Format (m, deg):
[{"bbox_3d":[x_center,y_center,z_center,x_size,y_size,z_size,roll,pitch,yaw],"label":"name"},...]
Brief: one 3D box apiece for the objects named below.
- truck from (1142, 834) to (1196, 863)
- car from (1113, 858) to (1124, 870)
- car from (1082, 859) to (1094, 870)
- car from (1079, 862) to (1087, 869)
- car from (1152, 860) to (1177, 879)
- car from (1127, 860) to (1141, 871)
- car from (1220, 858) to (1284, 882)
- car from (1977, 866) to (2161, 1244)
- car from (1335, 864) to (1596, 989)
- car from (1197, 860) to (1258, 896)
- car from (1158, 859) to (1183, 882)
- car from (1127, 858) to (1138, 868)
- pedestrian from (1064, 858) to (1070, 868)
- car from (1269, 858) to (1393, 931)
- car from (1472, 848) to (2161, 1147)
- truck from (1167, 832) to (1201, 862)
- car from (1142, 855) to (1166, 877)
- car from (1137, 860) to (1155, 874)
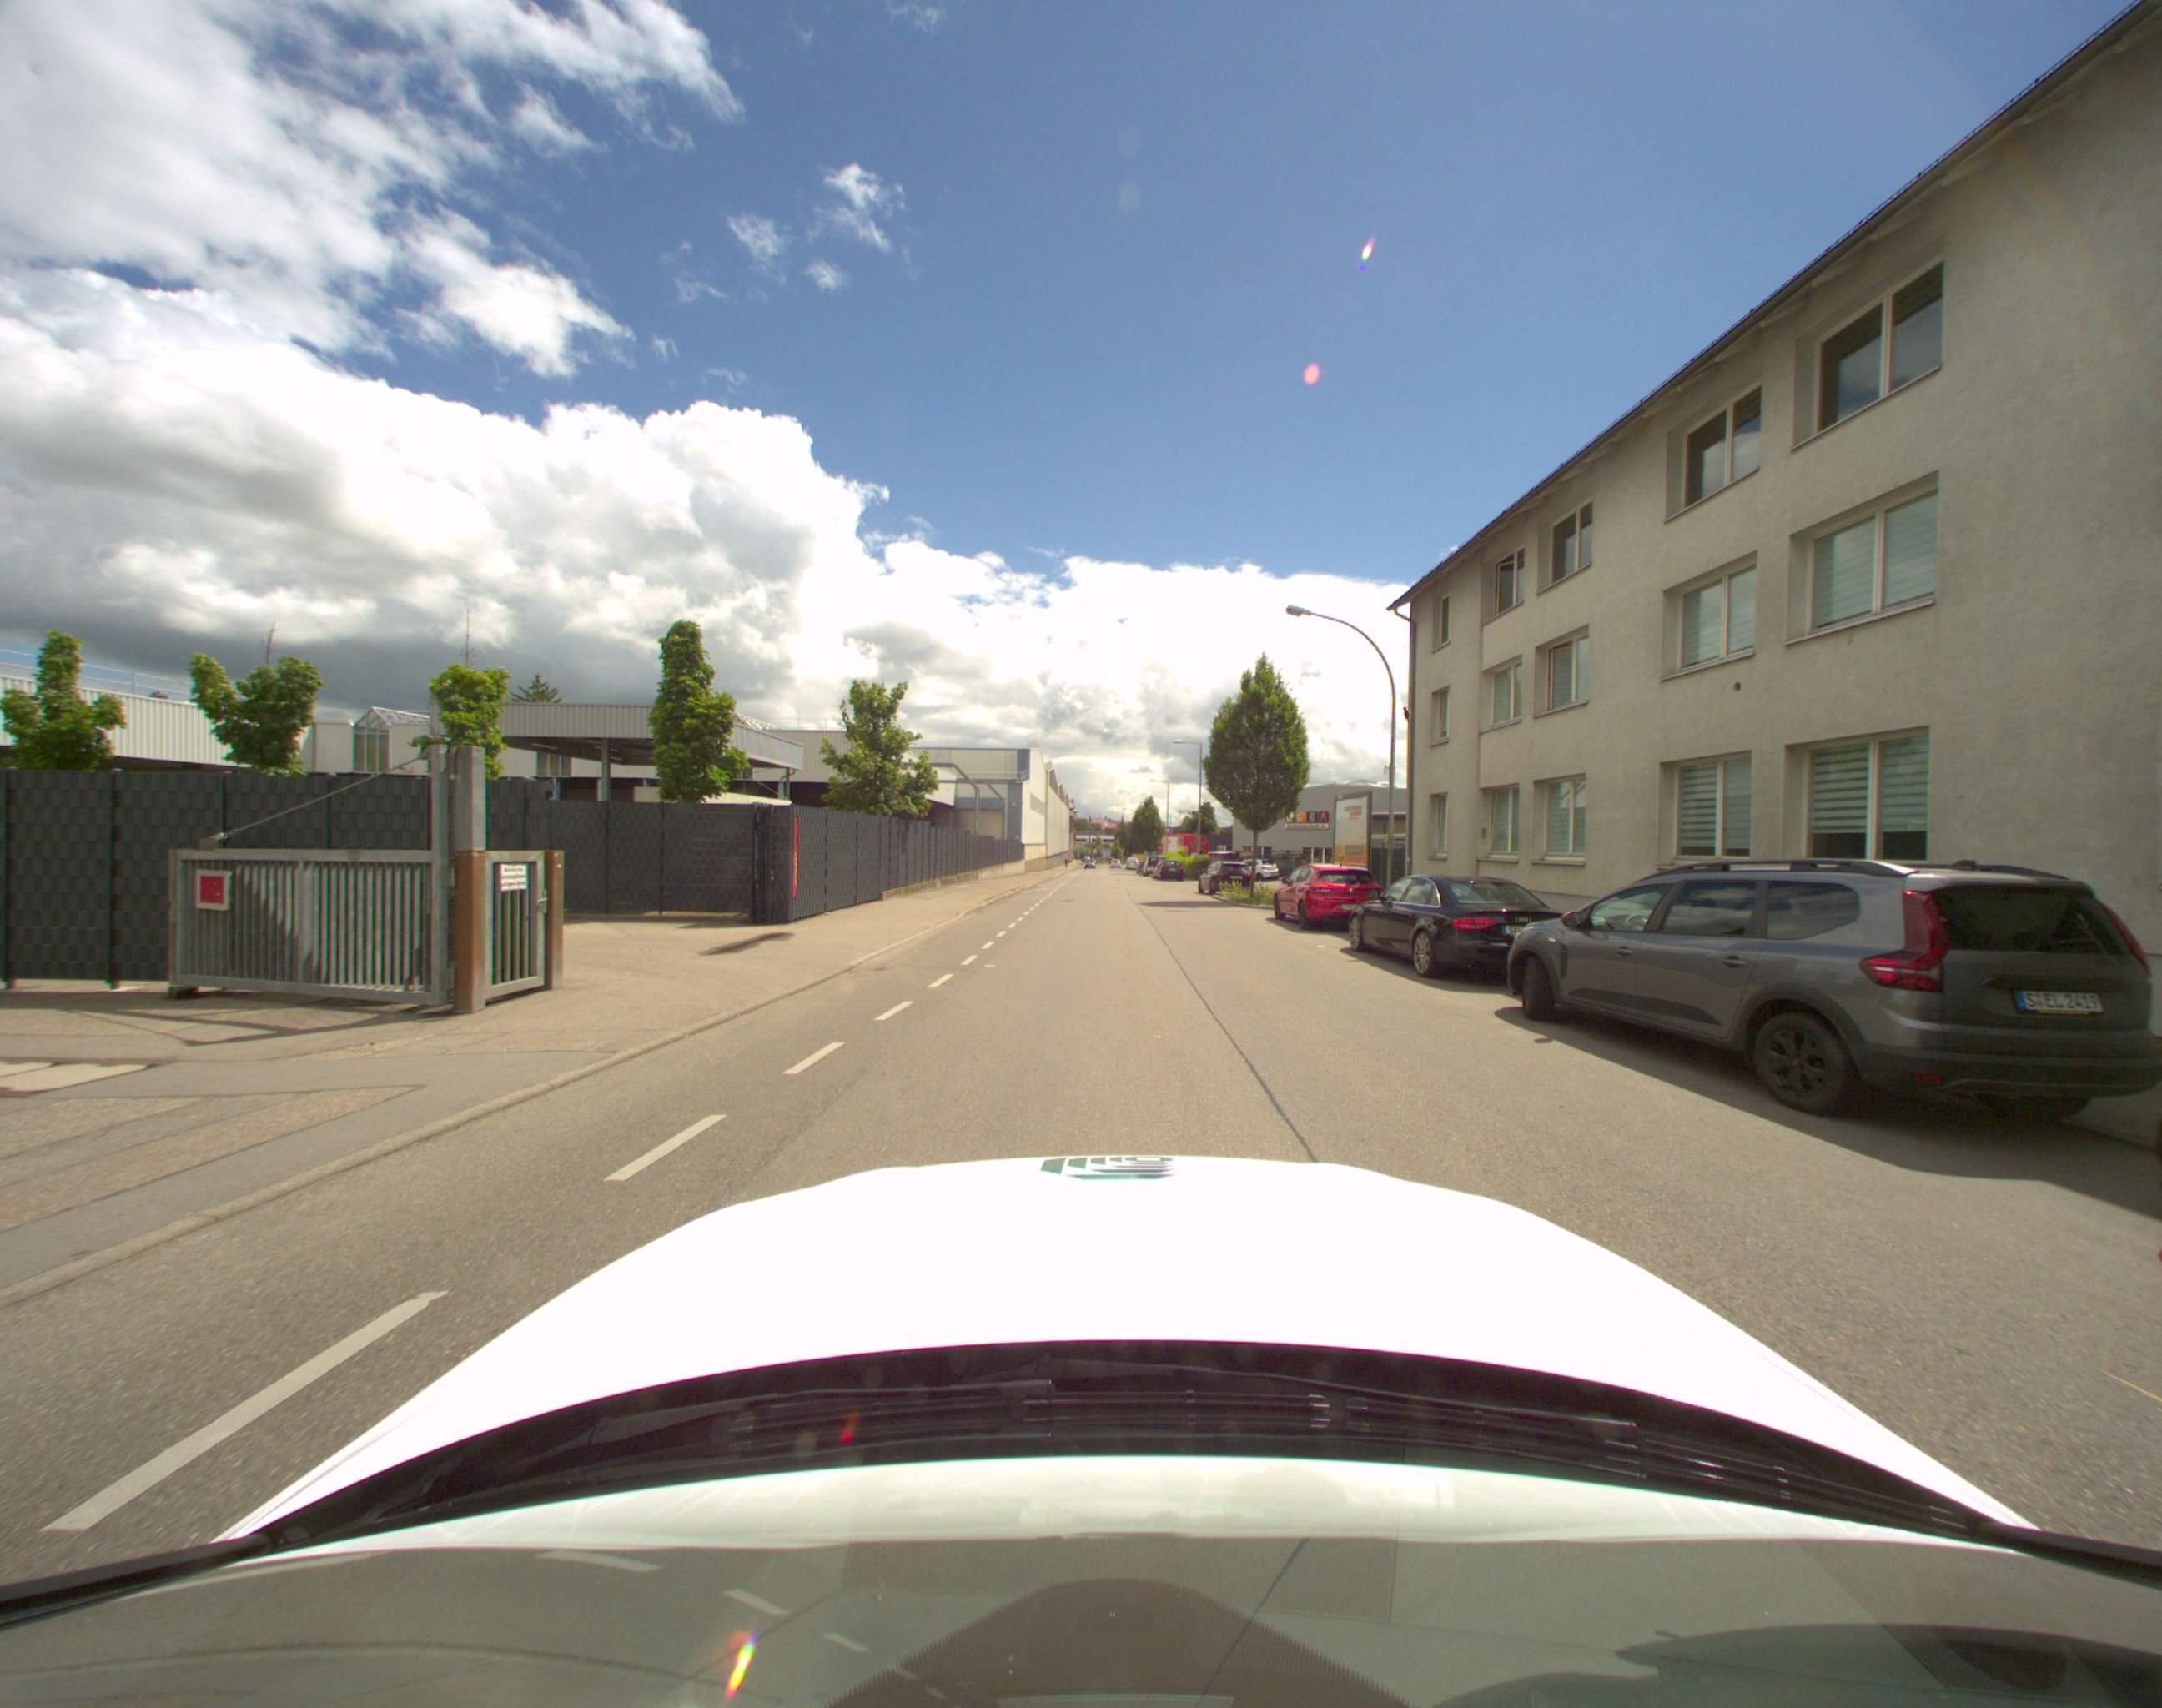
[{"bbox_3d":[14.565,-0.902,134.904,8.377,4.671,2.595,0,-3,22],"label":"truck"},{"bbox_3d":[6.208,1.656,134.690,1.561,1.786,3.605,1,-2,1],"label":"car"},{"bbox_3d":[1.105,1.643,128.686,1.713,1.556,4.287,-2,-2,0],"label":"car"},{"bbox_3d":[0.517,2.599,188.011,1.846,1.486,3.999,1,-2,1],"label":"car"},{"bbox_3d":[6.837,1.265,66.985,1.649,1.540,4.734,1,-1,1],"label":"car"},{"bbox_3d":[7.837,1.639,121.028,1.697,1.527,3.734,4,0,-3],"label":"car"},{"bbox_3d":[11.597,1.108,55.450,1.733,1.463,4.029,-2,0,-37],"label":"car"},{"bbox_3d":[5.230,0.869,1.433,1.699,1.510,5.087,3,0,0],"label":"car"},{"bbox_3d":[5.519,0.924,12.518,1.729,1.423,4.860,2,0,0],"label":"car"},{"bbox_3d":[6.293,1.014,35.447,1.785,1.466,4.707,1,-1,0],"label":"car"},{"bbox_3d":[6.771,1.250,61.945,1.672,1.638,4.125,1,-1,3],"label":"car"},{"bbox_3d":[8.238,1.499,131.700,1.694,1.528,3.740,1,-1,3],"label":"car"},{"bbox_3d":[-2.161,1.425,126.214,0.790,1.556,0.752,-2,-2,0],"label":"pedestrian"},{"bbox_3d":[5.747,0.860,19.250,1.728,1.472,4.263,1,0,2],"label":"car"},{"bbox_3d":[5.462,0.809,7.018,1.672,1.638,4.792,3,0,-2],"label":"car"},{"bbox_3d":[16.106,-1.035,128.093,2.577,4.450,7.824,1,-2,-14],"label":"truck"},{"bbox_3d":[6.874,1.094,77.056,1.862,1.990,5.144,1,-1,1],"label":"car"},{"bbox_3d":[7.218,1.453,90.666,1.708,1.474,4.511,1,-1,1],"label":"car"}]
